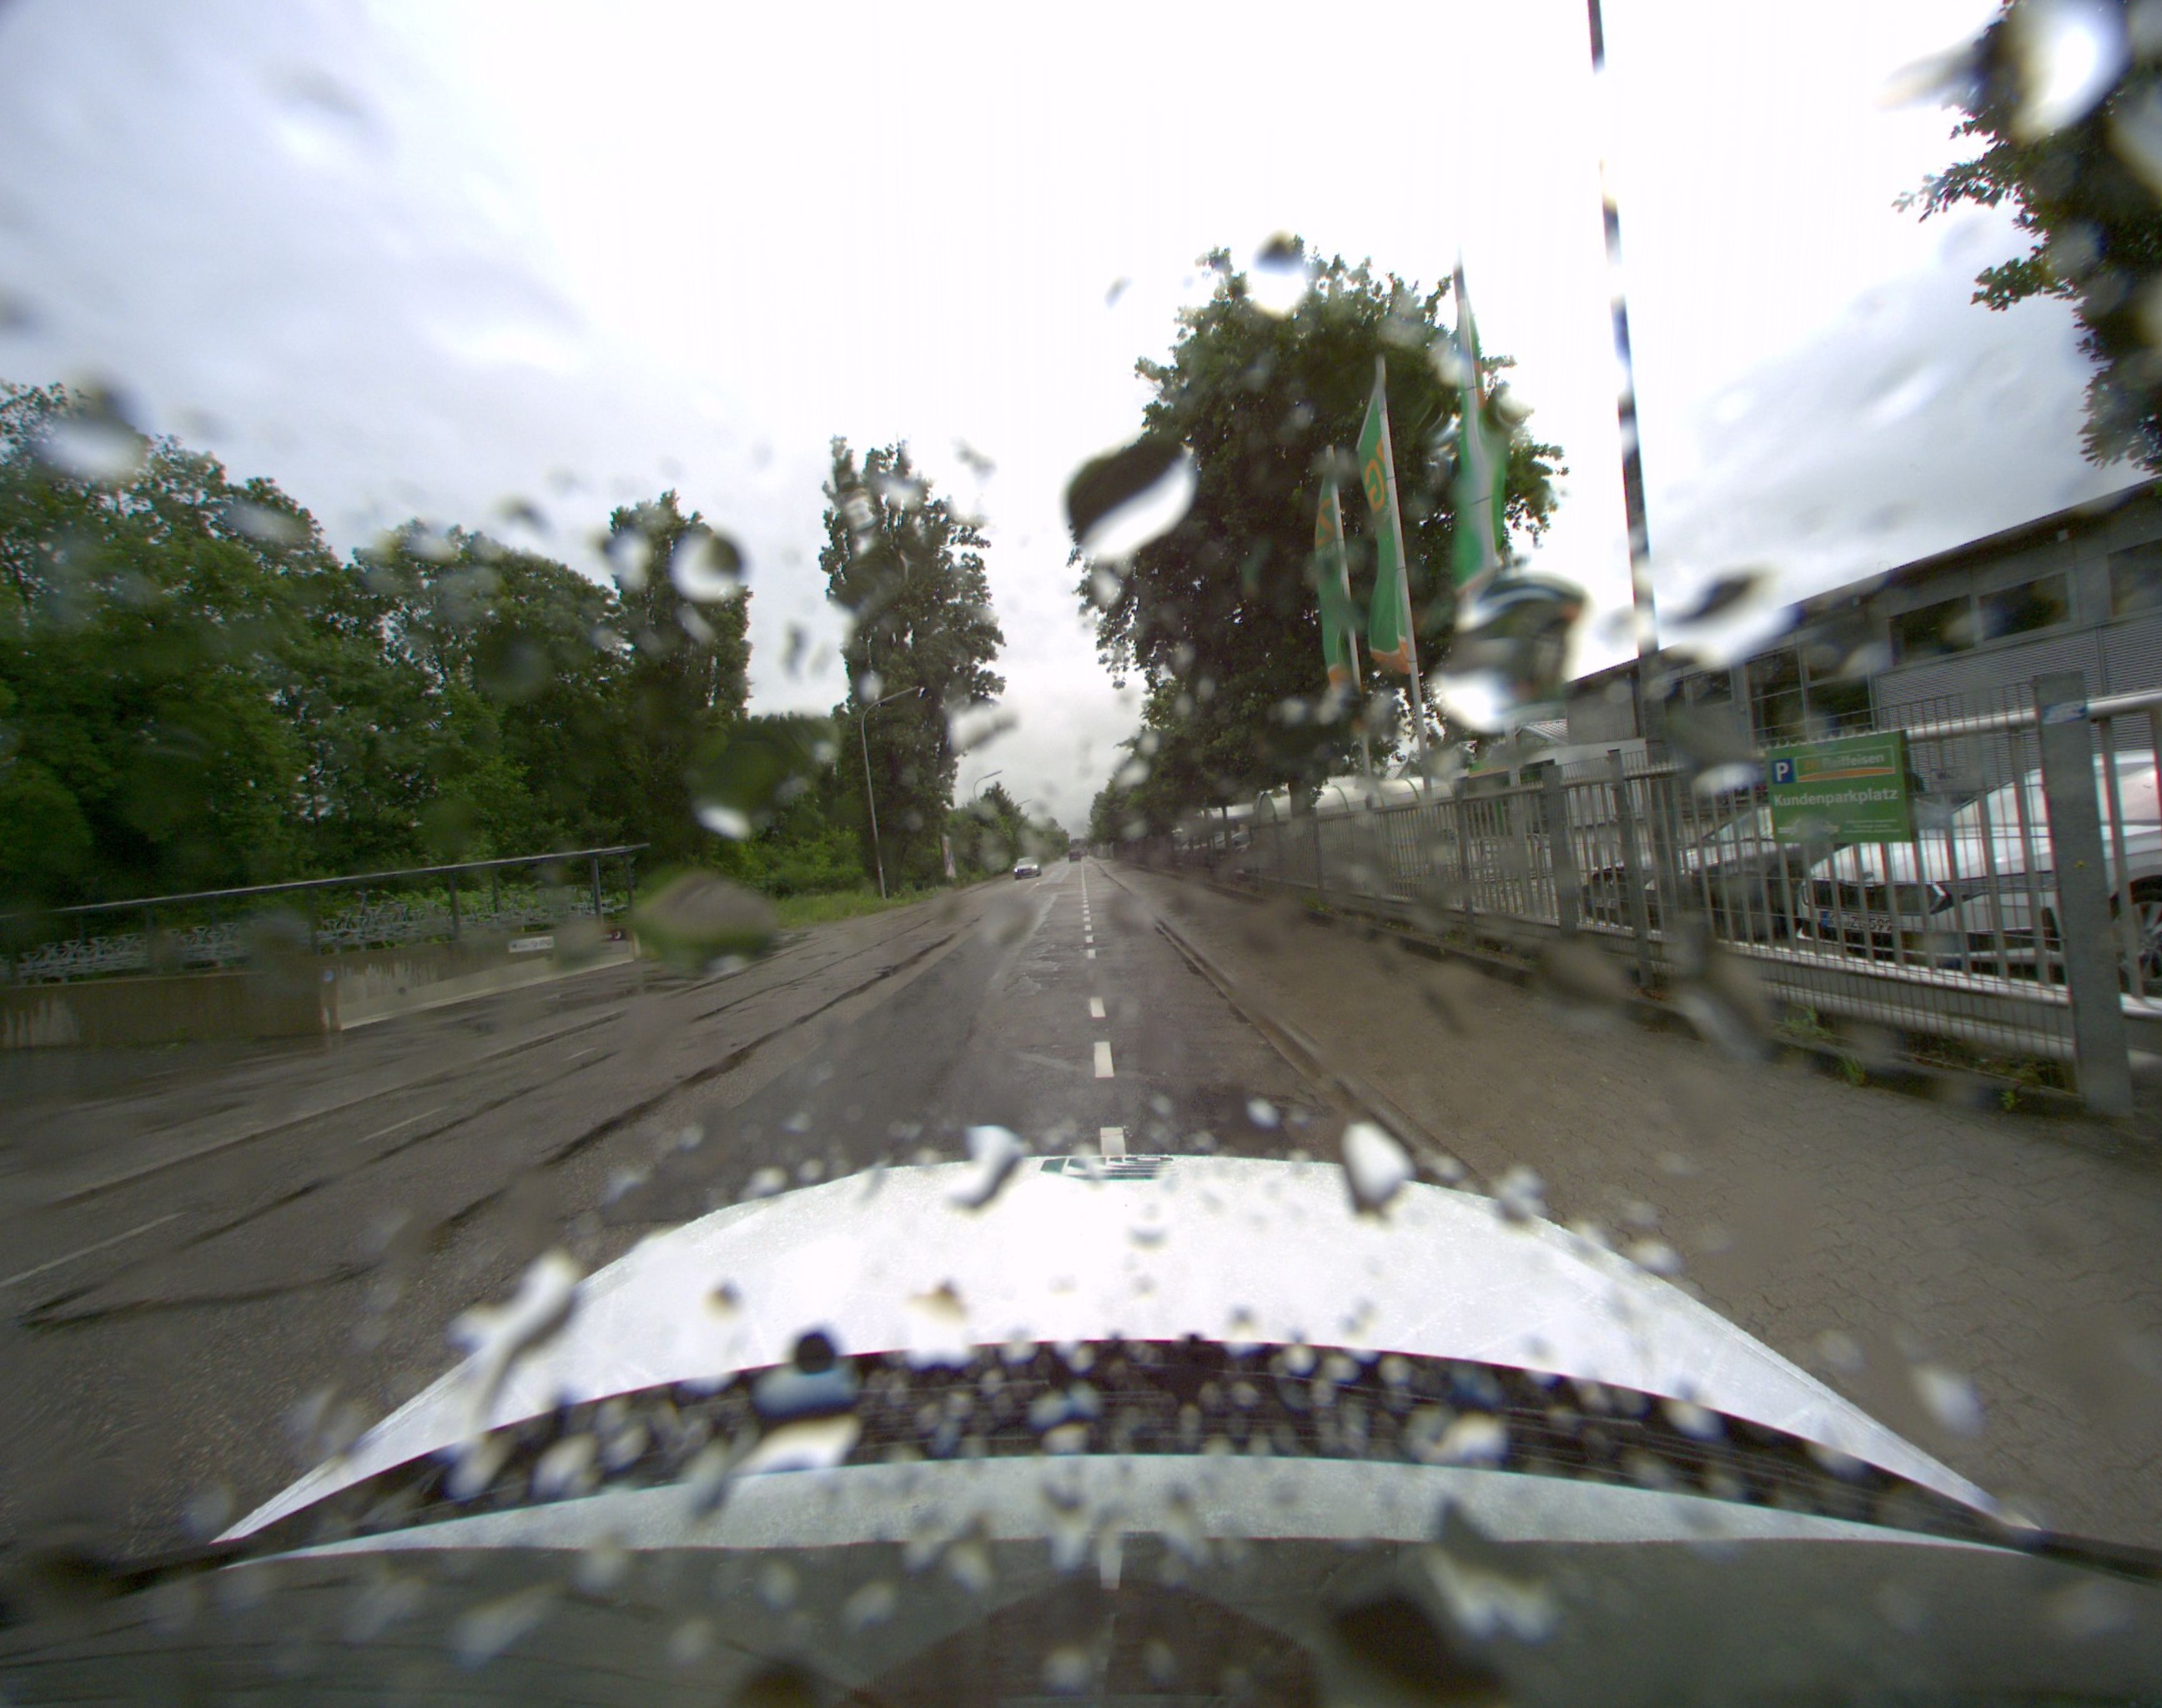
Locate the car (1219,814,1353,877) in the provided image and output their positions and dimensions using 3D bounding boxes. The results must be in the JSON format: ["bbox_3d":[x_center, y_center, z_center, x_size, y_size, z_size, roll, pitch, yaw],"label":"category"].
[{"bbox_3d":[7.388,-0.288,29.577,4.206,1.794,1.819,-6,0,-8],"label":"car"}]

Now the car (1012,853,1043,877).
[{"bbox_3d":[-3.865,0.777,59.519,1.728,1.450,4.381,-9,0,1],"label":"car"}]

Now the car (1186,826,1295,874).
[{"bbox_3d":[6.901,-0.179,35.425,4.206,1.618,1.819,-6,0,-8],"label":"car"}]

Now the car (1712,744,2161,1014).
[{"bbox_3d":[7.535,-0.024,5.745,4.691,1.462,1.889,-5,0,-2],"label":"car"}]

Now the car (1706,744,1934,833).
[{"bbox_3d":[20.467,-1.772,22.715,4.347,1.832,2.064,-7,0,1],"label":"car"}]

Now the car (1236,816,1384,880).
[{"bbox_3d":[7.435,-0.195,26.682,4.197,1.600,1.823,-6,0,-2],"label":"car"}]

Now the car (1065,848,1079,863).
[{"bbox_3d":[-1.343,0.266,124.341,1.988,1.910,4.199,-7,-1,-1],"label":"car"}]

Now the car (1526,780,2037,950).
[{"bbox_3d":[7.072,0.105,8.491,3.928,1.256,1.618,-5,0,-2],"label":"car"}]
